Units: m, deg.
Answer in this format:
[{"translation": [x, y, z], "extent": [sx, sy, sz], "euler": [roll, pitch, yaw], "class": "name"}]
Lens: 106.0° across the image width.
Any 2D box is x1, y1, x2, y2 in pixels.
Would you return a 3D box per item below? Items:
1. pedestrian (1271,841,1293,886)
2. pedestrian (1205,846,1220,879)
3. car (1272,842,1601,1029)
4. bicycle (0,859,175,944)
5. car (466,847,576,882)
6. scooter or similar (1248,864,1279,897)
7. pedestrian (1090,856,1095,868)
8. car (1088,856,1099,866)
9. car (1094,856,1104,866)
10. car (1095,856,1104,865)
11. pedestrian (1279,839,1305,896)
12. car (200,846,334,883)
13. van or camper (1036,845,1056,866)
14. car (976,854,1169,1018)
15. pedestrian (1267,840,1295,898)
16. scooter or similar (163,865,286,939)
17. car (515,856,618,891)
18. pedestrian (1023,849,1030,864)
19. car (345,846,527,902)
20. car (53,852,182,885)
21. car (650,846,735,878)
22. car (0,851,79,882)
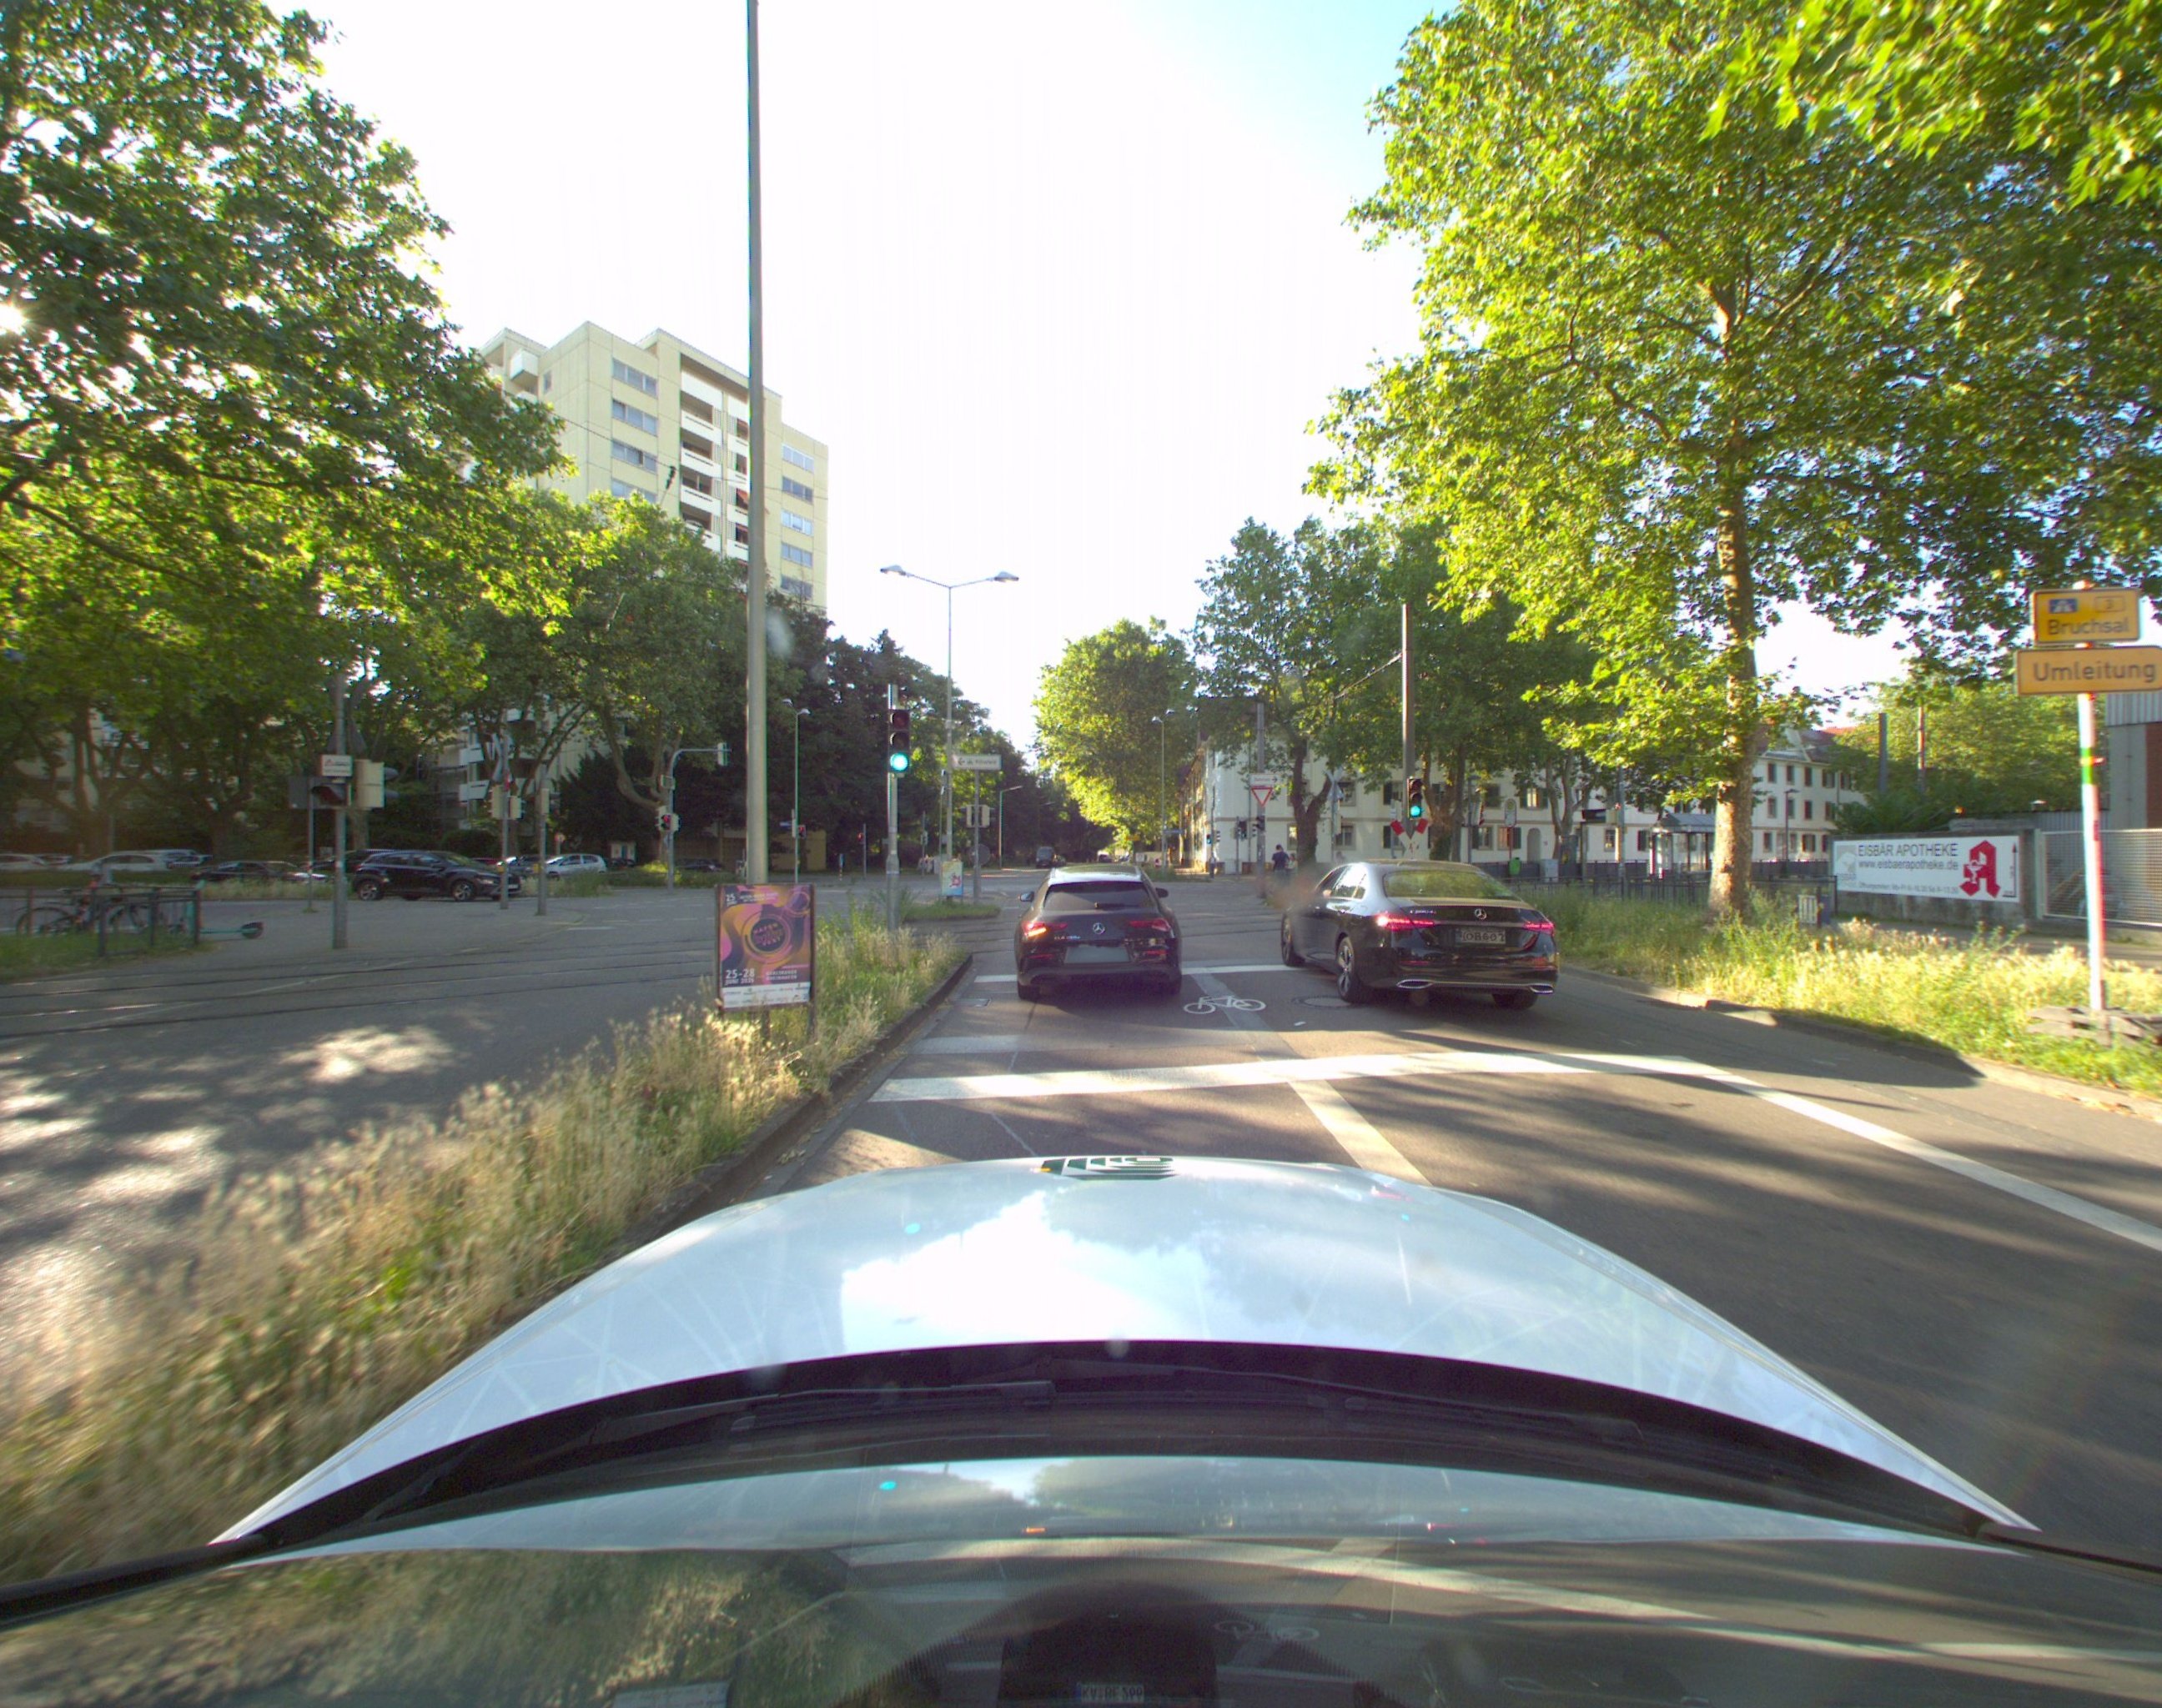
[{"translation": [8.572, 0.407, 34.791], "extent": [0.703, 1.918, 0.838], "euler": [1, -1, -4], "class": "pedestrian"}, {"translation": [7.859, 0.510, 48.715], "extent": [0.703, 1.918, 0.838], "euler": [1, -1, -2], "class": "pedestrian"}, {"translation": [3.533, 0.658, 9.115], "extent": [1.882, 1.490, 4.384], "euler": [1, 2, 2], "class": "car"}, {"translation": [-15.975, 0.743, 13.090], "extent": [1.845, 1.307, 0.380], "euler": [1, -1, -26], "class": "bicycle"}, {"translation": [-27.166, 0.514, 39.617], "extent": [1.716, 1.596, 4.025], "euler": [0, -1, 32], "class": "car"}, {"translation": [6.255, 0.901, 27.934], "extent": [0.826, 1.104, 0.808], "euler": [1, -1, -4], "class": "scooter or similar"}, {"translation": [1.826, 1.282, 127.575], "extent": [0.704, 1.918, 0.837], "euler": [1, -1, -8], "class": "pedestrian"}, {"translation": [2.214, 1.271, 142.724], "extent": [1.727, 1.765, 4.020], "euler": [1, -1, 2], "class": "car"}, {"translation": [3.260, 1.273, 147.913], "extent": [1.727, 1.765, 4.020], "euler": [1, -1, 2], "class": "car"}, {"translation": [3.615, 1.215, 155.994], "extent": [1.727, 1.765, 4.020], "euler": [1, -1, 2], "class": "car"}, {"translation": [7.258, 0.454, 28.032], "extent": [0.681, 1.918, 0.707], "euler": [1, -1, -2], "class": "pedestrian"}, {"translation": [-37.367, 0.492, 37.484], "extent": [1.716, 1.596, 4.025], "euler": [0, -1, 32], "class": "car"}, {"translation": [-4.195, 0.196, 97.443], "extent": [1.986, 2.541, 4.653], "euler": [1, -1, 2], "class": "van or camper"}, {"translation": [0.032, 0.795, 9.967], "extent": [1.881, 1.450, 4.004], "euler": [1, 2, 3], "class": "car"}, {"translation": [6.650, 0.491, 27.118], "extent": [0.704, 1.918, 0.683], "euler": [1, -1, -7], "class": "pedestrian"}, {"translation": [-15.114, 0.826, 14.402], "extent": [0.408, 1.239, 1.450], "euler": [0, -1, 41], "class": "scooter or similar"}, {"translation": [-24.875, 0.902, 39.472], "extent": [1.716, 1.596, 3.831], "euler": [0, -1, 32], "class": "car"}, {"translation": [-6.994, 0.276, 105.141], "extent": [0.701, 1.918, 0.841], "euler": [1, -1, 8], "class": "pedestrian"}, {"translation": [-19.448, 0.589, 24.712], "extent": [3.980, 1.596, 1.735], "euler": [1, -1, -5], "class": "car"}, {"translation": [-49.108, 0.723, 41.591], "extent": [1.716, 1.596, 4.025], "euler": [0, -1, 32], "class": "car"}, {"translation": [-22.563, 0.437, 47.368], "extent": [3.963, 1.774, 2.005], "euler": [1, -1, 9], "class": "car"}, {"translation": [-57.042, 0.657, 43.617], "extent": [1.716, 1.596, 4.025], "euler": [0, -1, 32], "class": "car"}]
